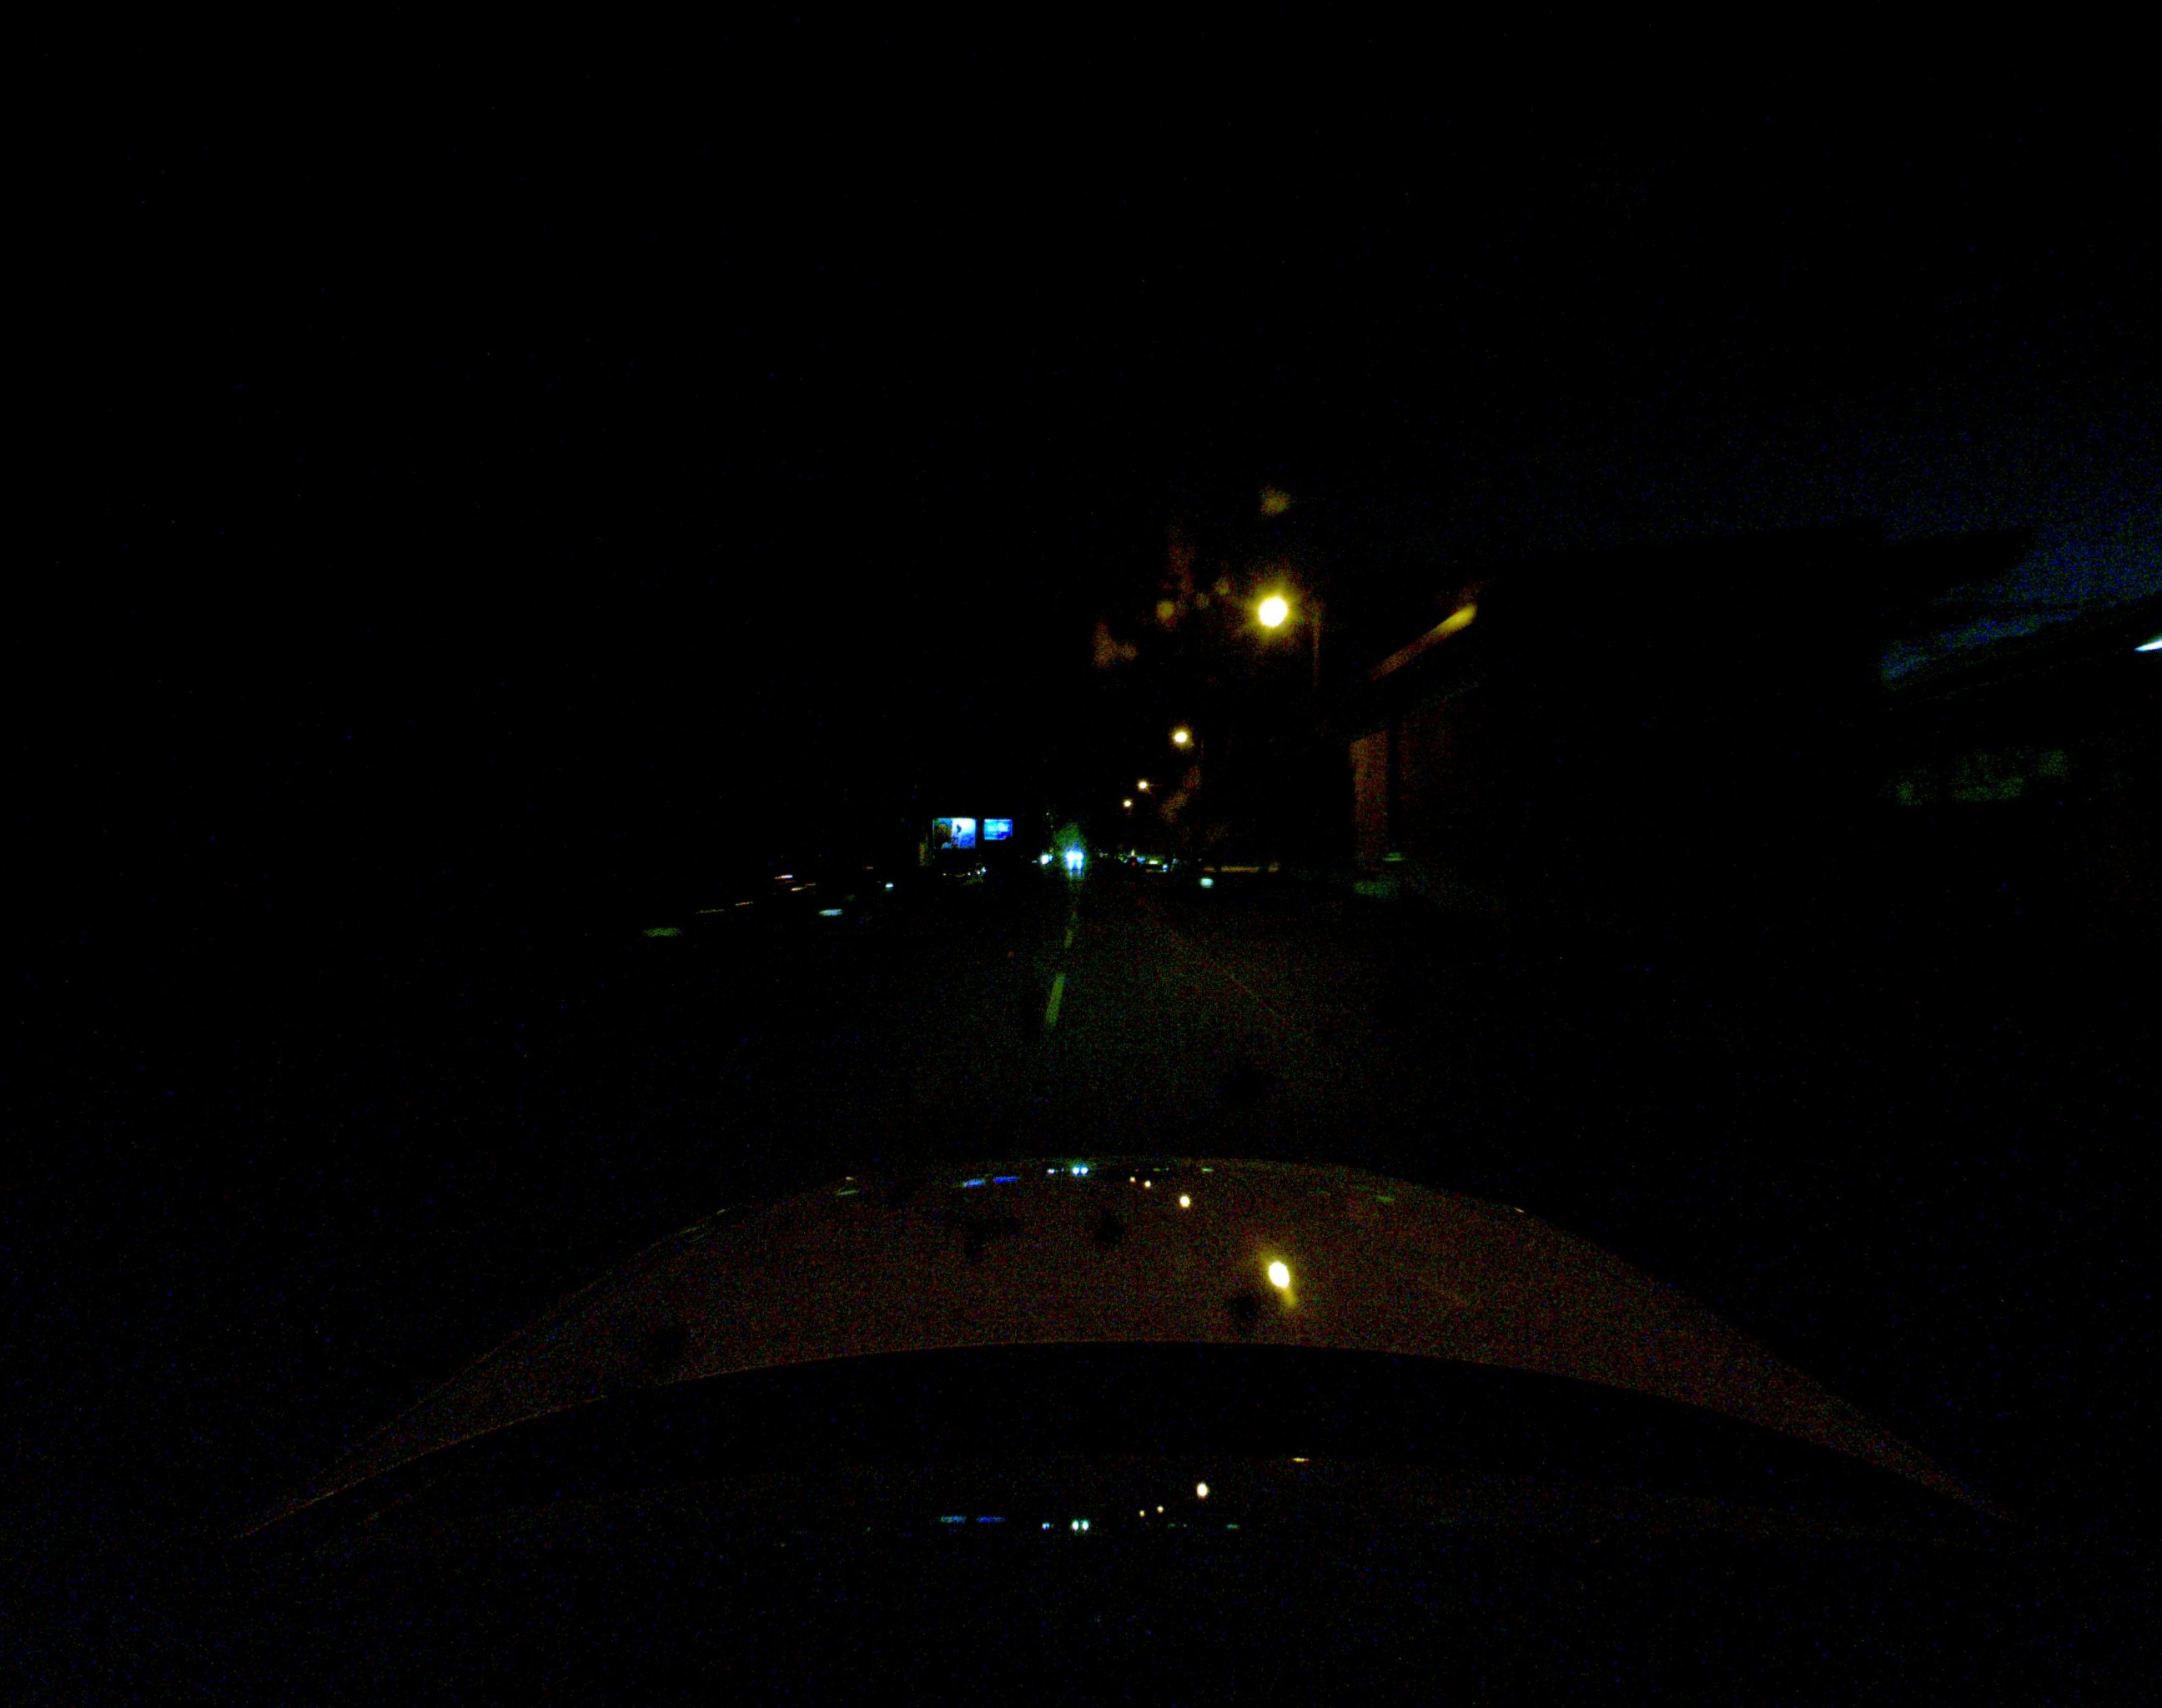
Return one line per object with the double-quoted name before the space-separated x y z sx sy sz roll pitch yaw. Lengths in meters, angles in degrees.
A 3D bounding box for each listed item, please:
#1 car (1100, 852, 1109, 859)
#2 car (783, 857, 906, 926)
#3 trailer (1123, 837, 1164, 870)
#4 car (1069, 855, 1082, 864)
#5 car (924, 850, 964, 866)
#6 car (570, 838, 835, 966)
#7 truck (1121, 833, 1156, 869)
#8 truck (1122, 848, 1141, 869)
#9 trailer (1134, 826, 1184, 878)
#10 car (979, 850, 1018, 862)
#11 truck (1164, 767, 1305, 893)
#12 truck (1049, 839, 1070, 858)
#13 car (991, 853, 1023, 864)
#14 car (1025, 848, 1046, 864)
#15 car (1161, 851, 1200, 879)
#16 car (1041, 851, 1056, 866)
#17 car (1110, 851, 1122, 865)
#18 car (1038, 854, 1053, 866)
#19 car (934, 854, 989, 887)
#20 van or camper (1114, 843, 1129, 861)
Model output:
"car" 5.365 0.345 187.517 1.986 1.684 4.000 1 0 1
"car" -5.232 0.770 18.535 1.596 1.354 4.000 1 0 0
"trailer" 5.673 0.031 75.700 3.173 2.749 10.716 -1 -1 1
"car" -0.891 0.852 134.305 1.986 1.398 4.000 1 0 1
"car" -14.533 0.441 86.545 3.977 1.651 1.998 1 0 -2
"car" -5.658 0.657 13.034 1.987 1.636 4.772 1 -1 0
"truck" 5.778 -0.247 82.846 3.140 3.463 6.673 -1 -1 1
"truck" 5.828 0.533 95.006 1.986 2.407 5.293 1 0 1
"trailer" 5.577 -0.110 59.376 2.679 3.464 7.804 1 -1 -2
"car" -10.731 0.286 106.084 4.631 1.485 1.986 1 0 -22
"truck" 5.421 -0.705 31.109 3.508 3.983 10.341 -1 -1 1
"truck" -4.468 -1.100 166.763 3.883 3.621 8.247 1 0 -4
"car" -10.432 0.632 114.497 4.007 1.595 1.983 -1 -1 -26
"car" -4.992 0.216 89.488 1.986 1.794 4.000 1 0 1
"car" 5.635 0.647 46.646 1.846 1.519 3.819 -1 -1 1
"car" -3.941 0.581 98.961 1.673 1.736 4.353 1 0 -1
"car" 5.912 0.673 137.145 1.986 2.145 4.000 1 0 1
"car" -5.024 0.850 115.317 1.891 1.736 4.356 1 0 1
"car" -5.351 0.722 36.957 1.835 1.420 4.000 1 0 1
"van or camper" 5.769 -0.291 116.752 1.986 2.581 4.916 1 0 2
